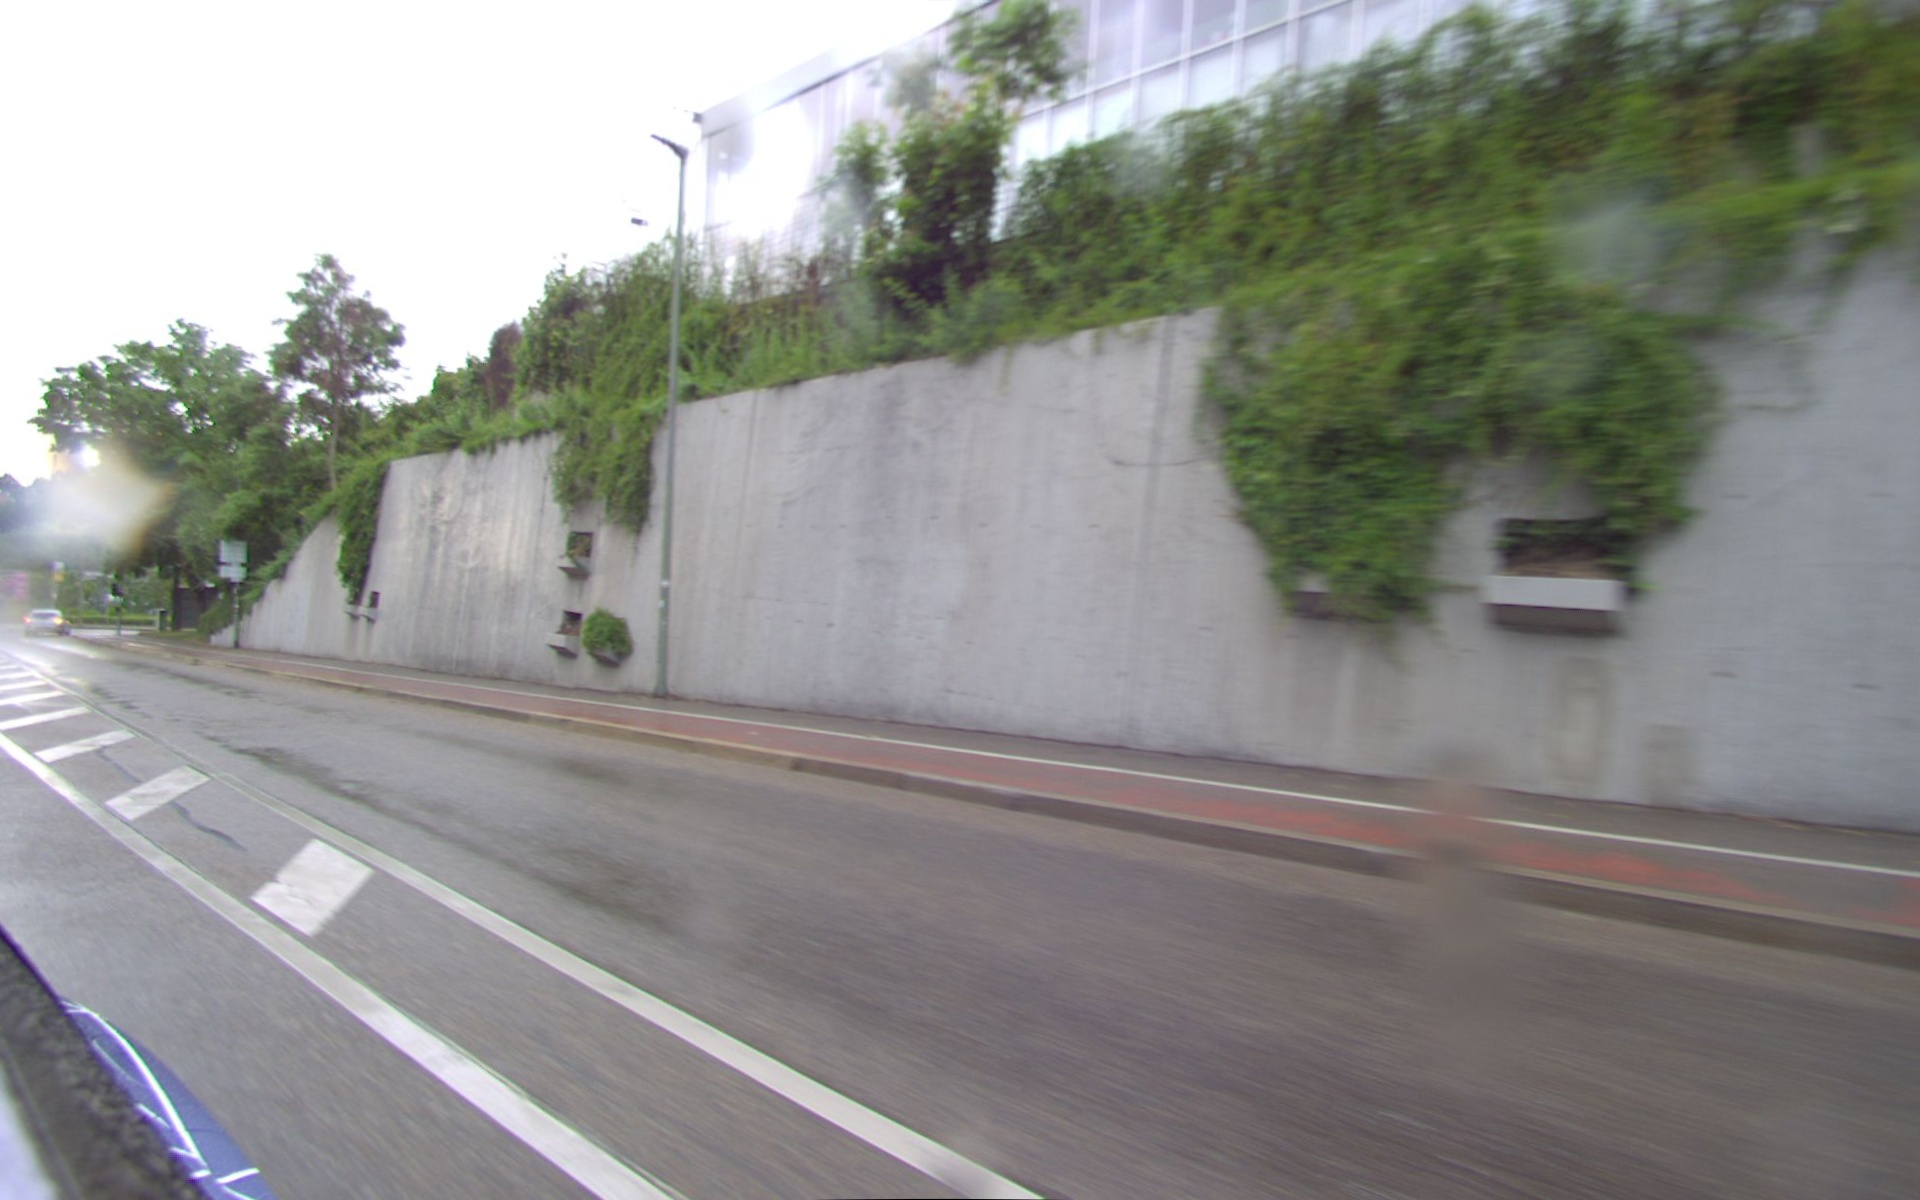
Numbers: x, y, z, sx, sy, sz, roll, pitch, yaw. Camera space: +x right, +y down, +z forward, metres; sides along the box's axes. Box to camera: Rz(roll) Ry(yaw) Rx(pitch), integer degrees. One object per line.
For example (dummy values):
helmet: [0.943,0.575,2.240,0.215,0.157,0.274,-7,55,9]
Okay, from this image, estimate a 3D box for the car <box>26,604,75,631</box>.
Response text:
car: [-52.282,0.967,58.238,1.492,1.459,3.827,-1,0,-33]
